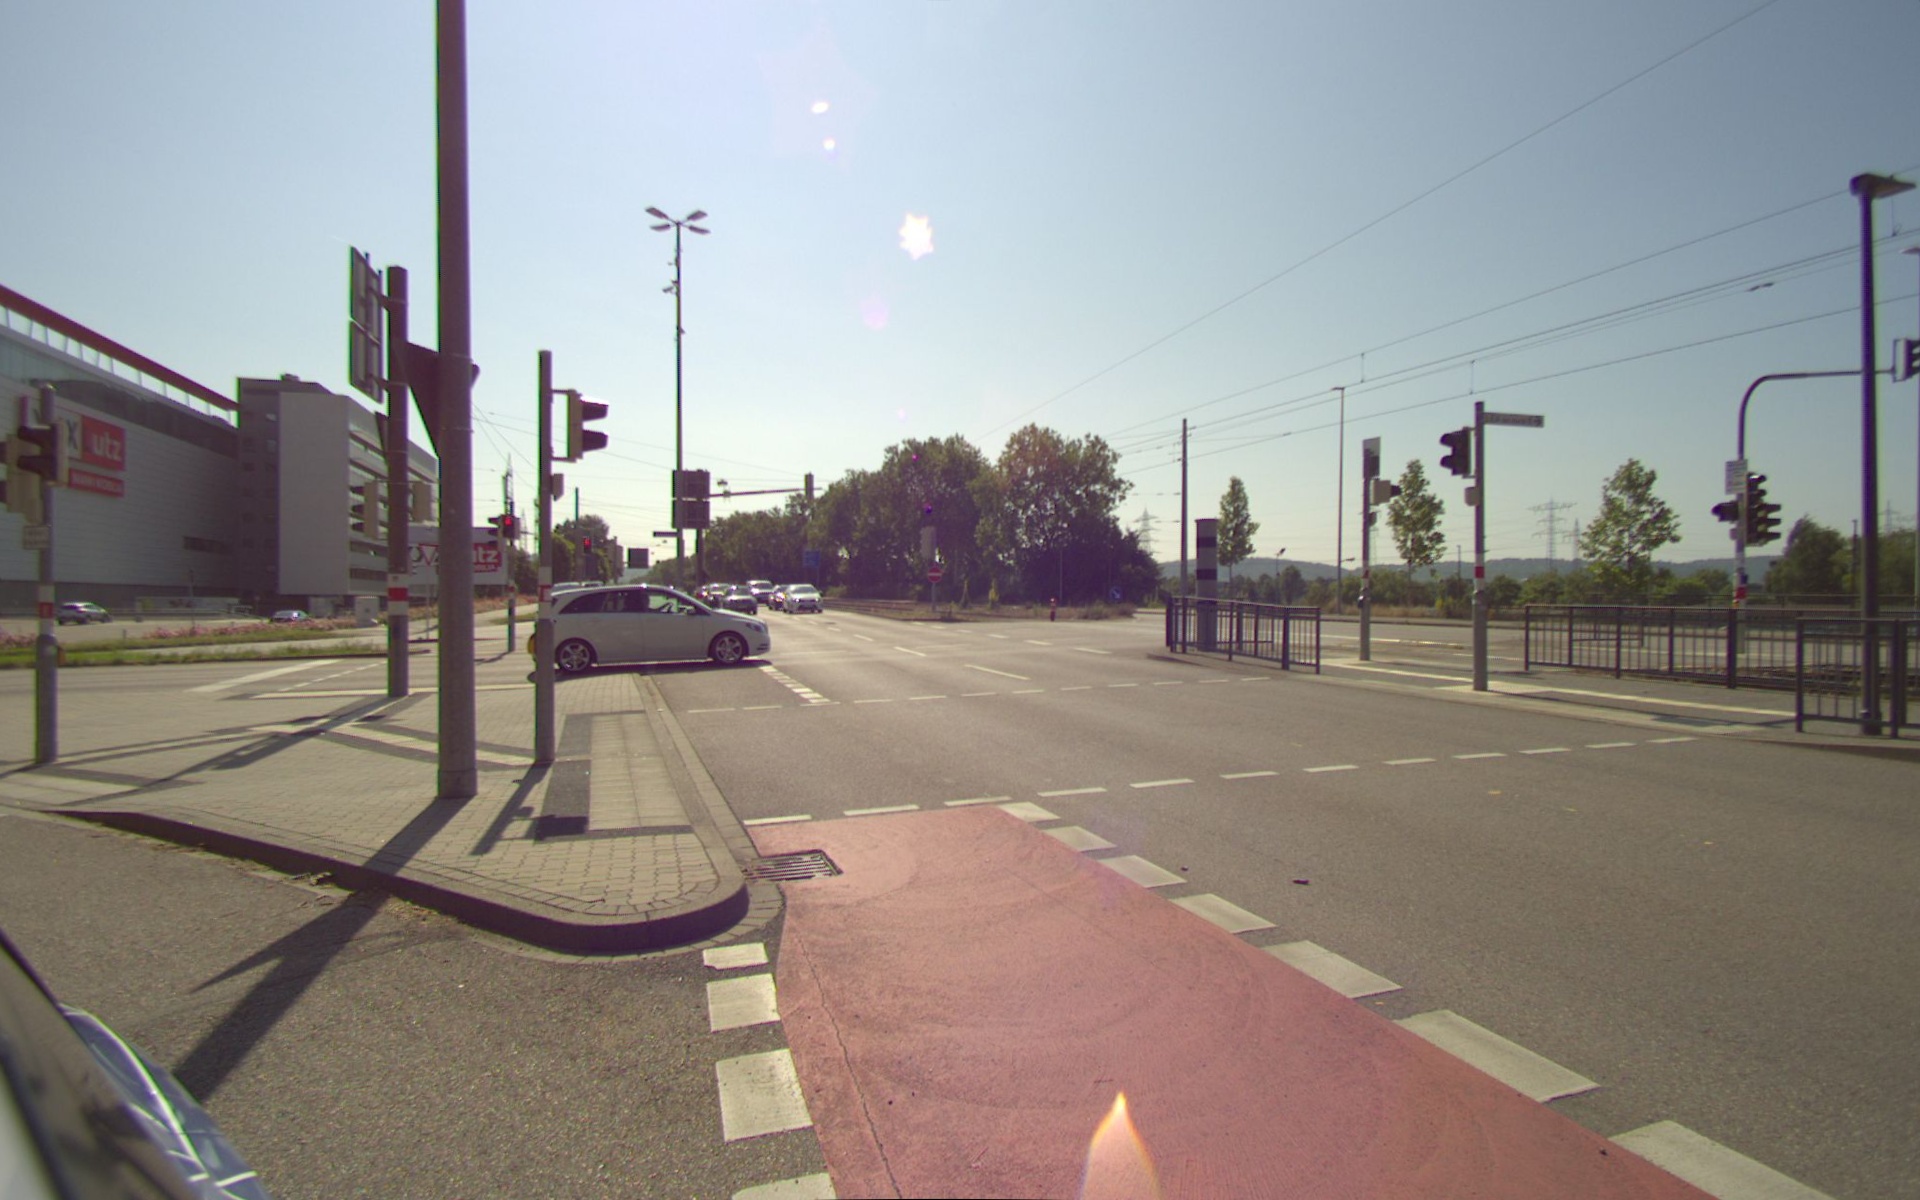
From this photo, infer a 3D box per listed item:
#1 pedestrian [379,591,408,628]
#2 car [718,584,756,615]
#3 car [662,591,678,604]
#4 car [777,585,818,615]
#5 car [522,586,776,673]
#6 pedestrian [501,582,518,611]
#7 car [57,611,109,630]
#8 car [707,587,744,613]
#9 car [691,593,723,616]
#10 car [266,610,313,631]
[{"bbox_3d":[-26.571,0.455,47.444,0.832,1.720,0.904,-1,-1,4],"label":"pedestrian"},{"bbox_3d":[-11.202,-0.015,50.756,1.385,1.511,3.408,1,0,-20],"label":"car"},{"bbox_3d":[-35.881,-0.284,125.186,1.604,1.637,3.798,-1,0,-20],"label":"car"},{"bbox_3d":[-8.366,0.009,51.945,1.385,1.511,3.365,1,0,-22],"label":"car"},{"bbox_3d":[-5.742,0.487,18.876,4.313,1.459,1.753,-1,1,-19],"label":"car"},{"bbox_3d":[-30.781,-0.219,69.175,0.902,1.987,0.720,1,0,-13],"label":"pedestrian"},{"bbox_3d":[-66.527,1.525,76.848,1.721,1.340,3.686,1,0,-19],"label":"car"},{"bbox_3d":[-14.405,0.017,62.047,1.732,1.532,4.013,-1,0,-19],"label":"car"},{"bbox_3d":[-18.142,0.318,72.447,1.875,1.584,3.849,1,0,-19],"label":"car"},{"bbox_3d":[-44.470,1.356,67.211,1.699,1.340,3.872,1,0,-19],"label":"car"}]
